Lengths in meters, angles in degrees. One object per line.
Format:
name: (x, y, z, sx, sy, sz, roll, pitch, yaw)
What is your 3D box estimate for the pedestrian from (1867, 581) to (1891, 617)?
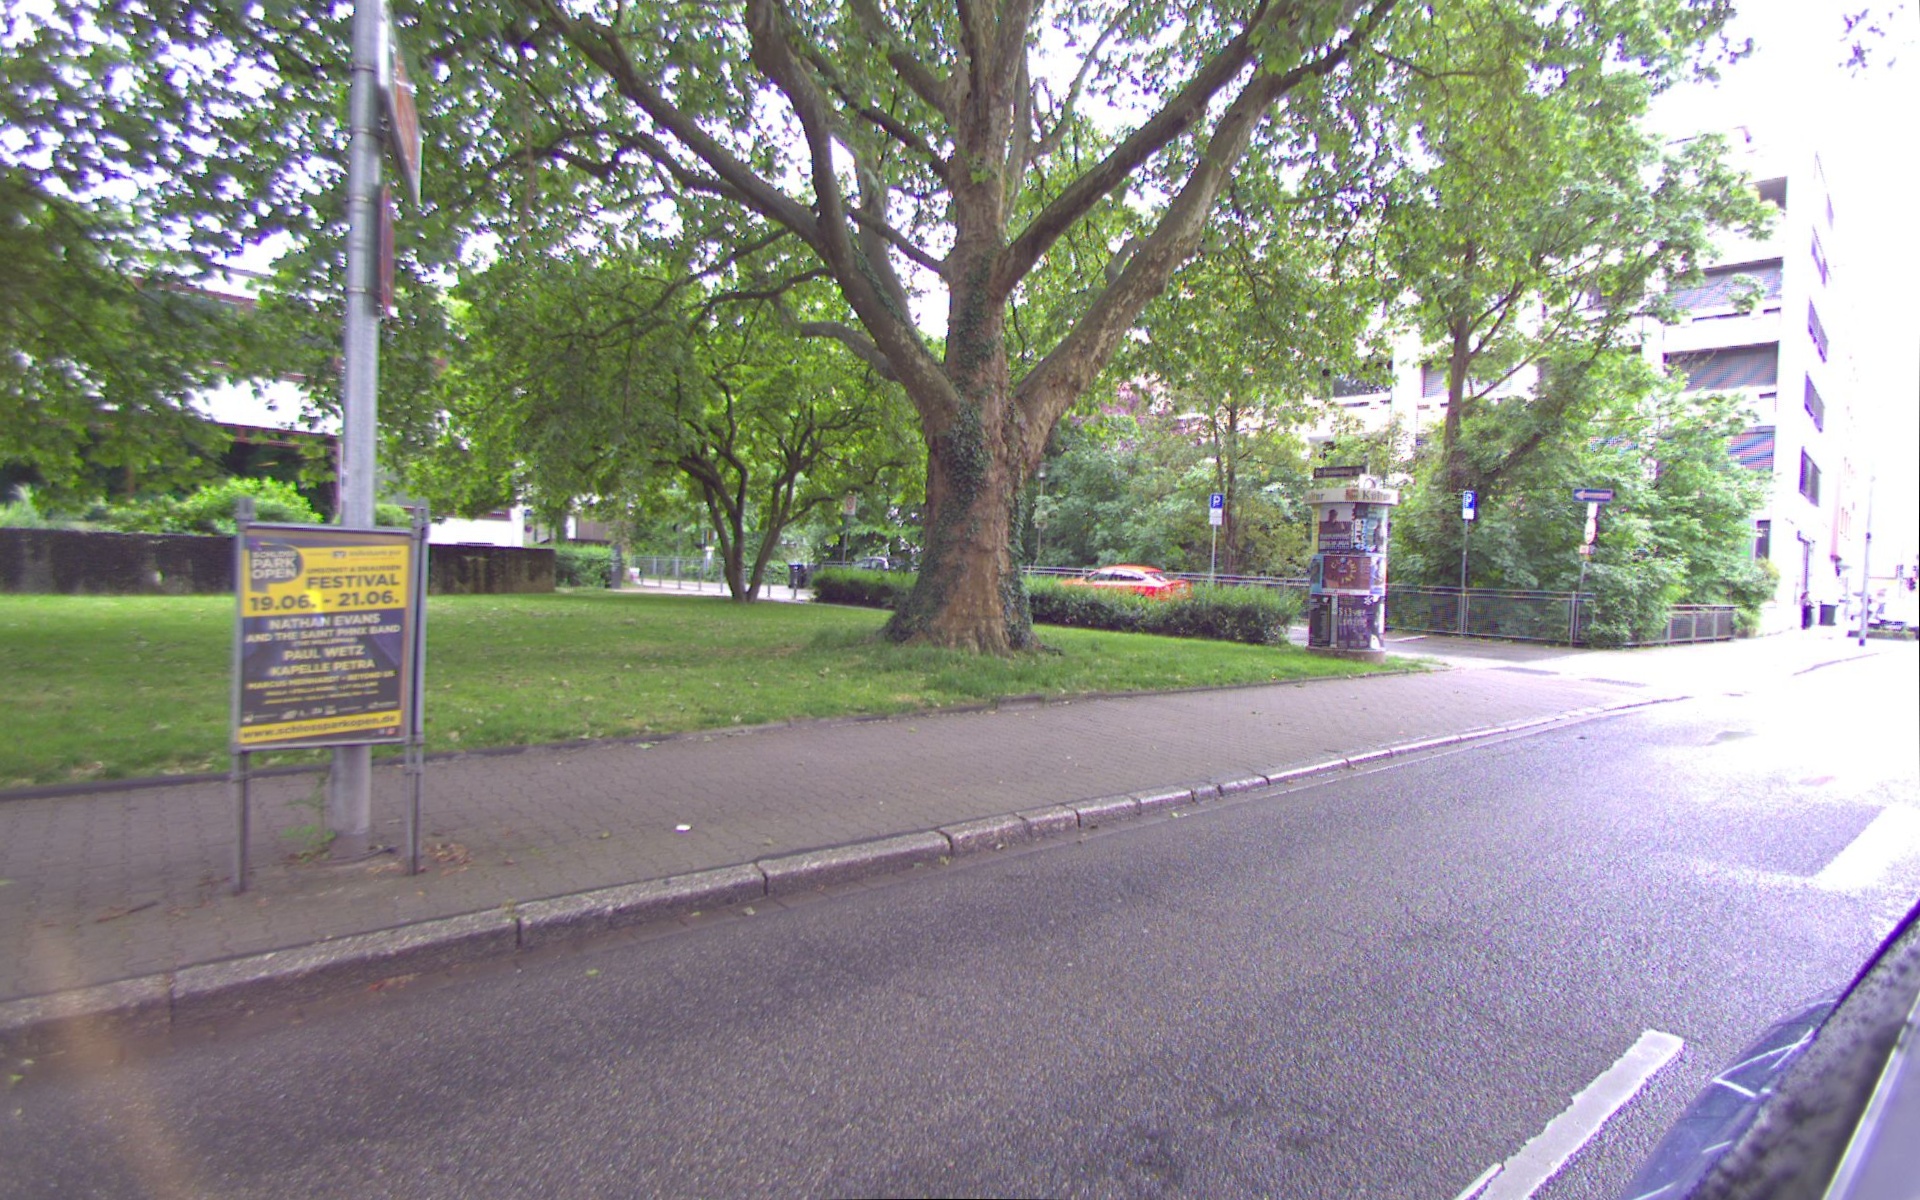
pedestrian: (56.406, -0.080, 62.126, 0.797, 2.179, 0.732, 2, 1, 26)

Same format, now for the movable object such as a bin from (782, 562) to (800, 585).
movable object such as a bin: (-7.189, -1.124, 43.156, 0.573, 0.986, 0.512, 0, 0, -41)

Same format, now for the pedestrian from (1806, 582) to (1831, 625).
pedestrian: (34.854, 0.122, 41.087, 0.598, 1.679, 0.681, 7, 4, 42)

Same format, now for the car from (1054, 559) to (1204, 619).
car: (4.902, -0.383, 29.741, 3.989, 1.499, 1.847, 5, 5, 44)

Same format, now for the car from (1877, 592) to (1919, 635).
car: (37.504, 0.522, 39.849, 3.741, 1.577, 1.705, 0, 4, -43)

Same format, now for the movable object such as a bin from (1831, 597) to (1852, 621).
movable object such as a bin: (42.132, 0.410, 48.368, 0.505, 1.117, 0.680, 0, 2, -42)

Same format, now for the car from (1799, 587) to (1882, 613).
car: (62.226, -0.043, 71.573, 1.770, 1.604, 4.155, 0, 3, -41)

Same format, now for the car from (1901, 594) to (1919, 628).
car: (42.589, 0.511, 44.198, 4.493, 1.437, 1.834, 0, 3, -43)

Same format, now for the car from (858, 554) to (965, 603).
car: (-1.829, -0.818, 37.086, 1.707, 1.590, 3.925, 0, 3, -45)
